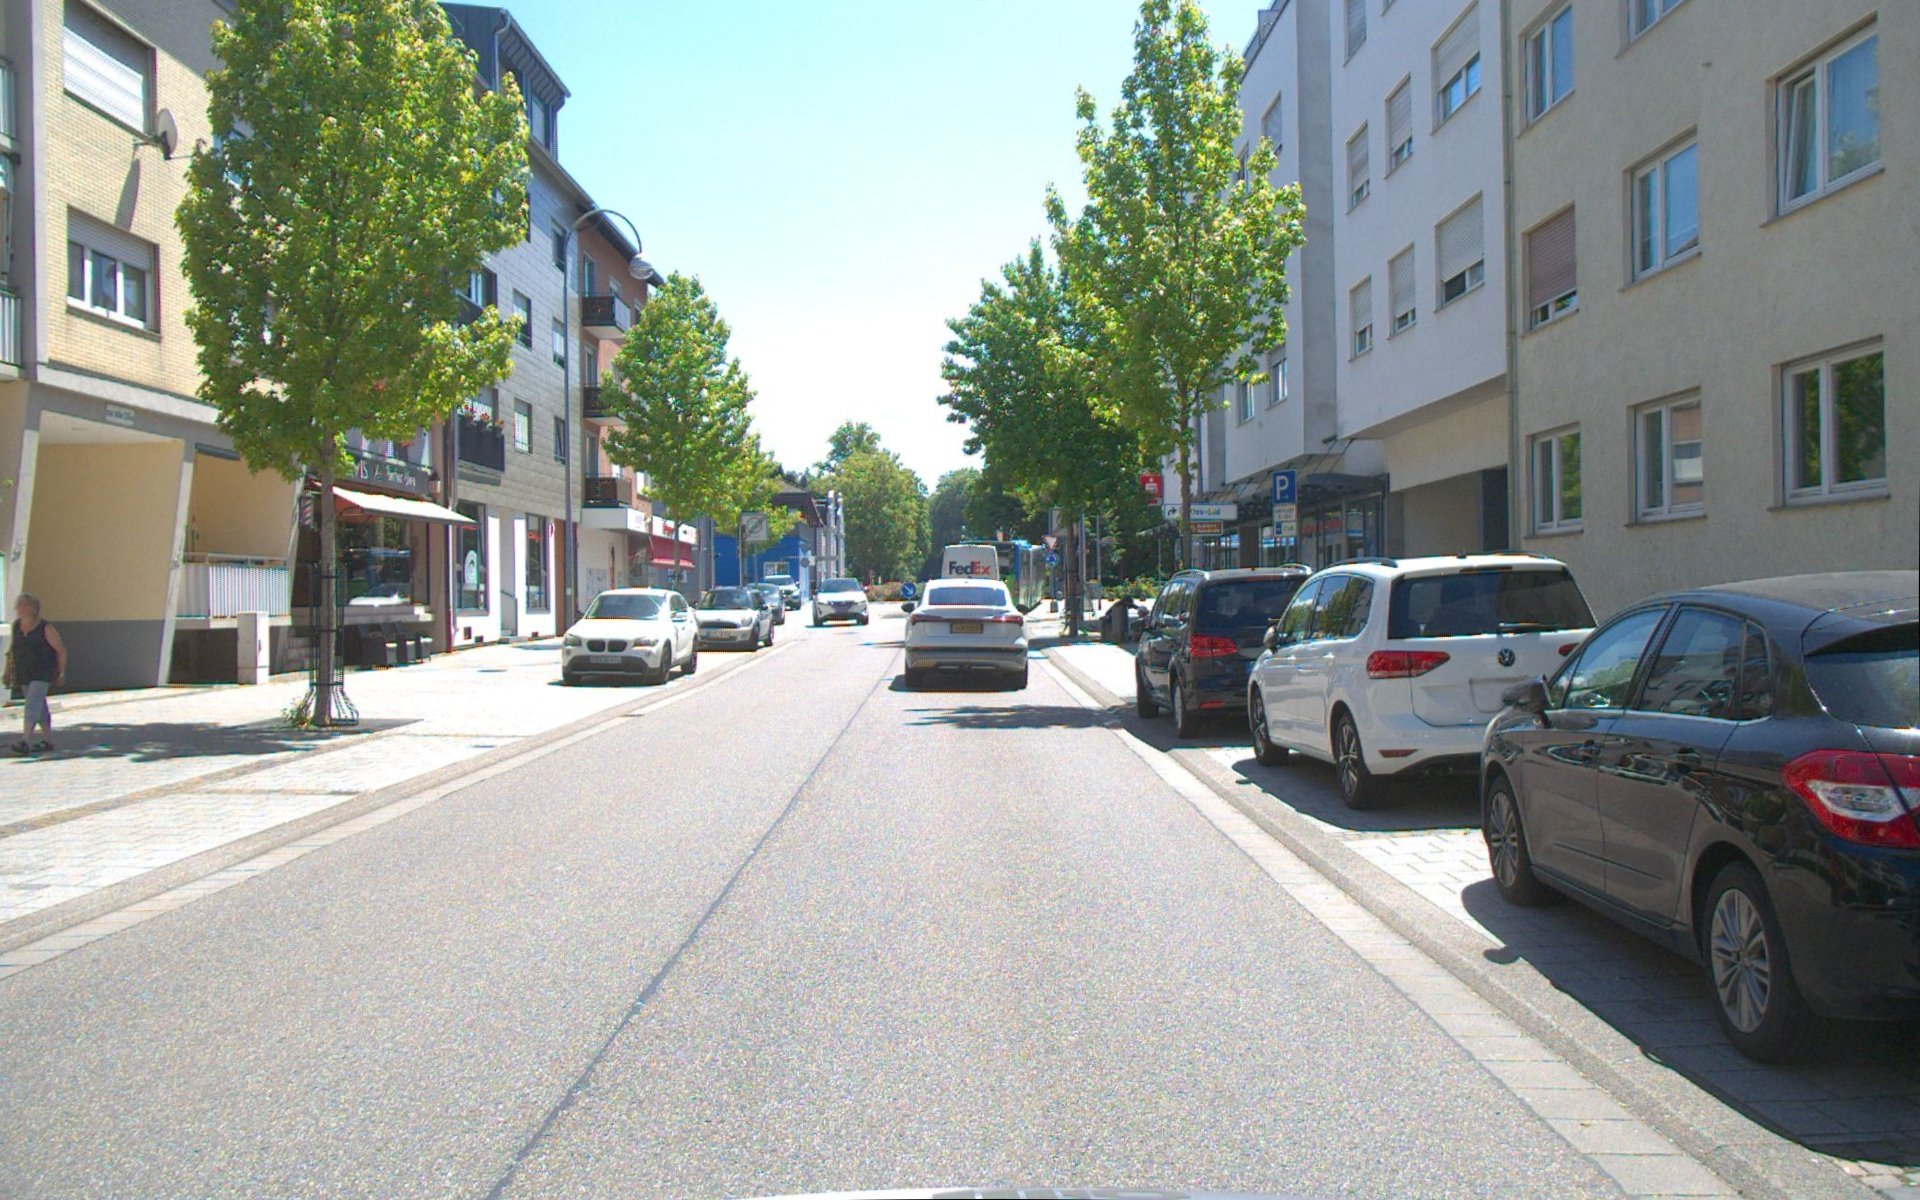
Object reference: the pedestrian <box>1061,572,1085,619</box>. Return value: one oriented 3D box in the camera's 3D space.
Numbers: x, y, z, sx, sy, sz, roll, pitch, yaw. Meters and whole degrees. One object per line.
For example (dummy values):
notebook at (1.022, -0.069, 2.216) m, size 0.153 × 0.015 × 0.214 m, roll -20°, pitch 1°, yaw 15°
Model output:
pedestrian at (3.787, -0.152, 55.305) m, size 0.701 × 1.529 × 0.583 m, roll -1°, pitch 0°, yaw 11°

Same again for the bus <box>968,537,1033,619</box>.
bus at (1.784, -0.892, 70.937) m, size 2.605 × 3.277 × 7.303 m, roll 1°, pitch 0°, yaw 2°

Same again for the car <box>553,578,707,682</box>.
car at (-5.703, 0.467, 29.101) m, size 1.716 × 1.646 × 4.401 m, roll 2°, pitch 0°, yaw 1°

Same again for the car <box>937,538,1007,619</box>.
car at (0.380, -0.679, 54.011) m, size 2.112 × 2.484 × 5.283 m, roll 1°, pitch 0°, yaw 0°

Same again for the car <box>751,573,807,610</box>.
car at (-9.205, -0.440, 83.914) m, size 1.839 × 1.788 × 3.973 m, roll 1°, pitch 0°, yaw -22°

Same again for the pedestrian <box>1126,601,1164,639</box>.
pedestrian at (4.398, 0.476, 39.357) m, size 0.887 × 0.894 × 0.648 m, roll -1°, pitch 0°, yaw 5°

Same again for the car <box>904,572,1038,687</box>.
car at (0.117, 0.417, 26.301) m, size 1.953 × 1.661 × 3.999 m, roll 1°, pitch 0°, yaw -2°

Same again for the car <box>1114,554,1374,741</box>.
car at (2.928, 0.432, 18.064) m, size 1.819 × 1.703 × 4.534 m, roll -2°, pitch 1°, yaw -3°

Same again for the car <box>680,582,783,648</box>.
car at (-5.457, 0.330, 39.970) m, size 1.716 × 1.478 × 4.402 m, roll 2°, pitch 0°, yaw 1°

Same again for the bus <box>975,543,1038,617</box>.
bus at (2.275, -0.921, 78.240) m, size 2.605 × 3.266 × 7.455 m, roll 1°, pitch 0°, yaw 4°

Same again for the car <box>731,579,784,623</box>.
car at (-7.435, 0.019, 61.122) m, size 1.802 × 1.521 × 3.996 m, roll -1°, pitch 1°, yaw -5°

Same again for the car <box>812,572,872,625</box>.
car at (-4.059, -0.073, 57.459) m, size 1.818 × 1.721 × 4.150 m, roll -2°, pitch 0°, yaw -1°

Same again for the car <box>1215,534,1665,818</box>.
car at (3.380, 0.454, 12.723) m, size 1.858 × 1.703 × 4.688 m, roll -2°, pitch 1°, yaw -3°

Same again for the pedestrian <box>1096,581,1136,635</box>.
pedestrian at (3.746, 0.187, 39.822) m, size 0.887 × 1.258 × 0.648 m, roll -1°, pitch 0°, yaw -1°

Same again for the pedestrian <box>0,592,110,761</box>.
pedestrian at (-8.728, 0.697, 15.710) m, size 0.683 × 1.518 × 1.097 m, roll 2°, pitch 0°, yaw -1°

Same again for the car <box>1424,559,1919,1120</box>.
car at (3.371, 0.593, 6.582) m, size 1.857 × 1.463 × 4.545 m, roll -1°, pitch 1°, yaw 1°
